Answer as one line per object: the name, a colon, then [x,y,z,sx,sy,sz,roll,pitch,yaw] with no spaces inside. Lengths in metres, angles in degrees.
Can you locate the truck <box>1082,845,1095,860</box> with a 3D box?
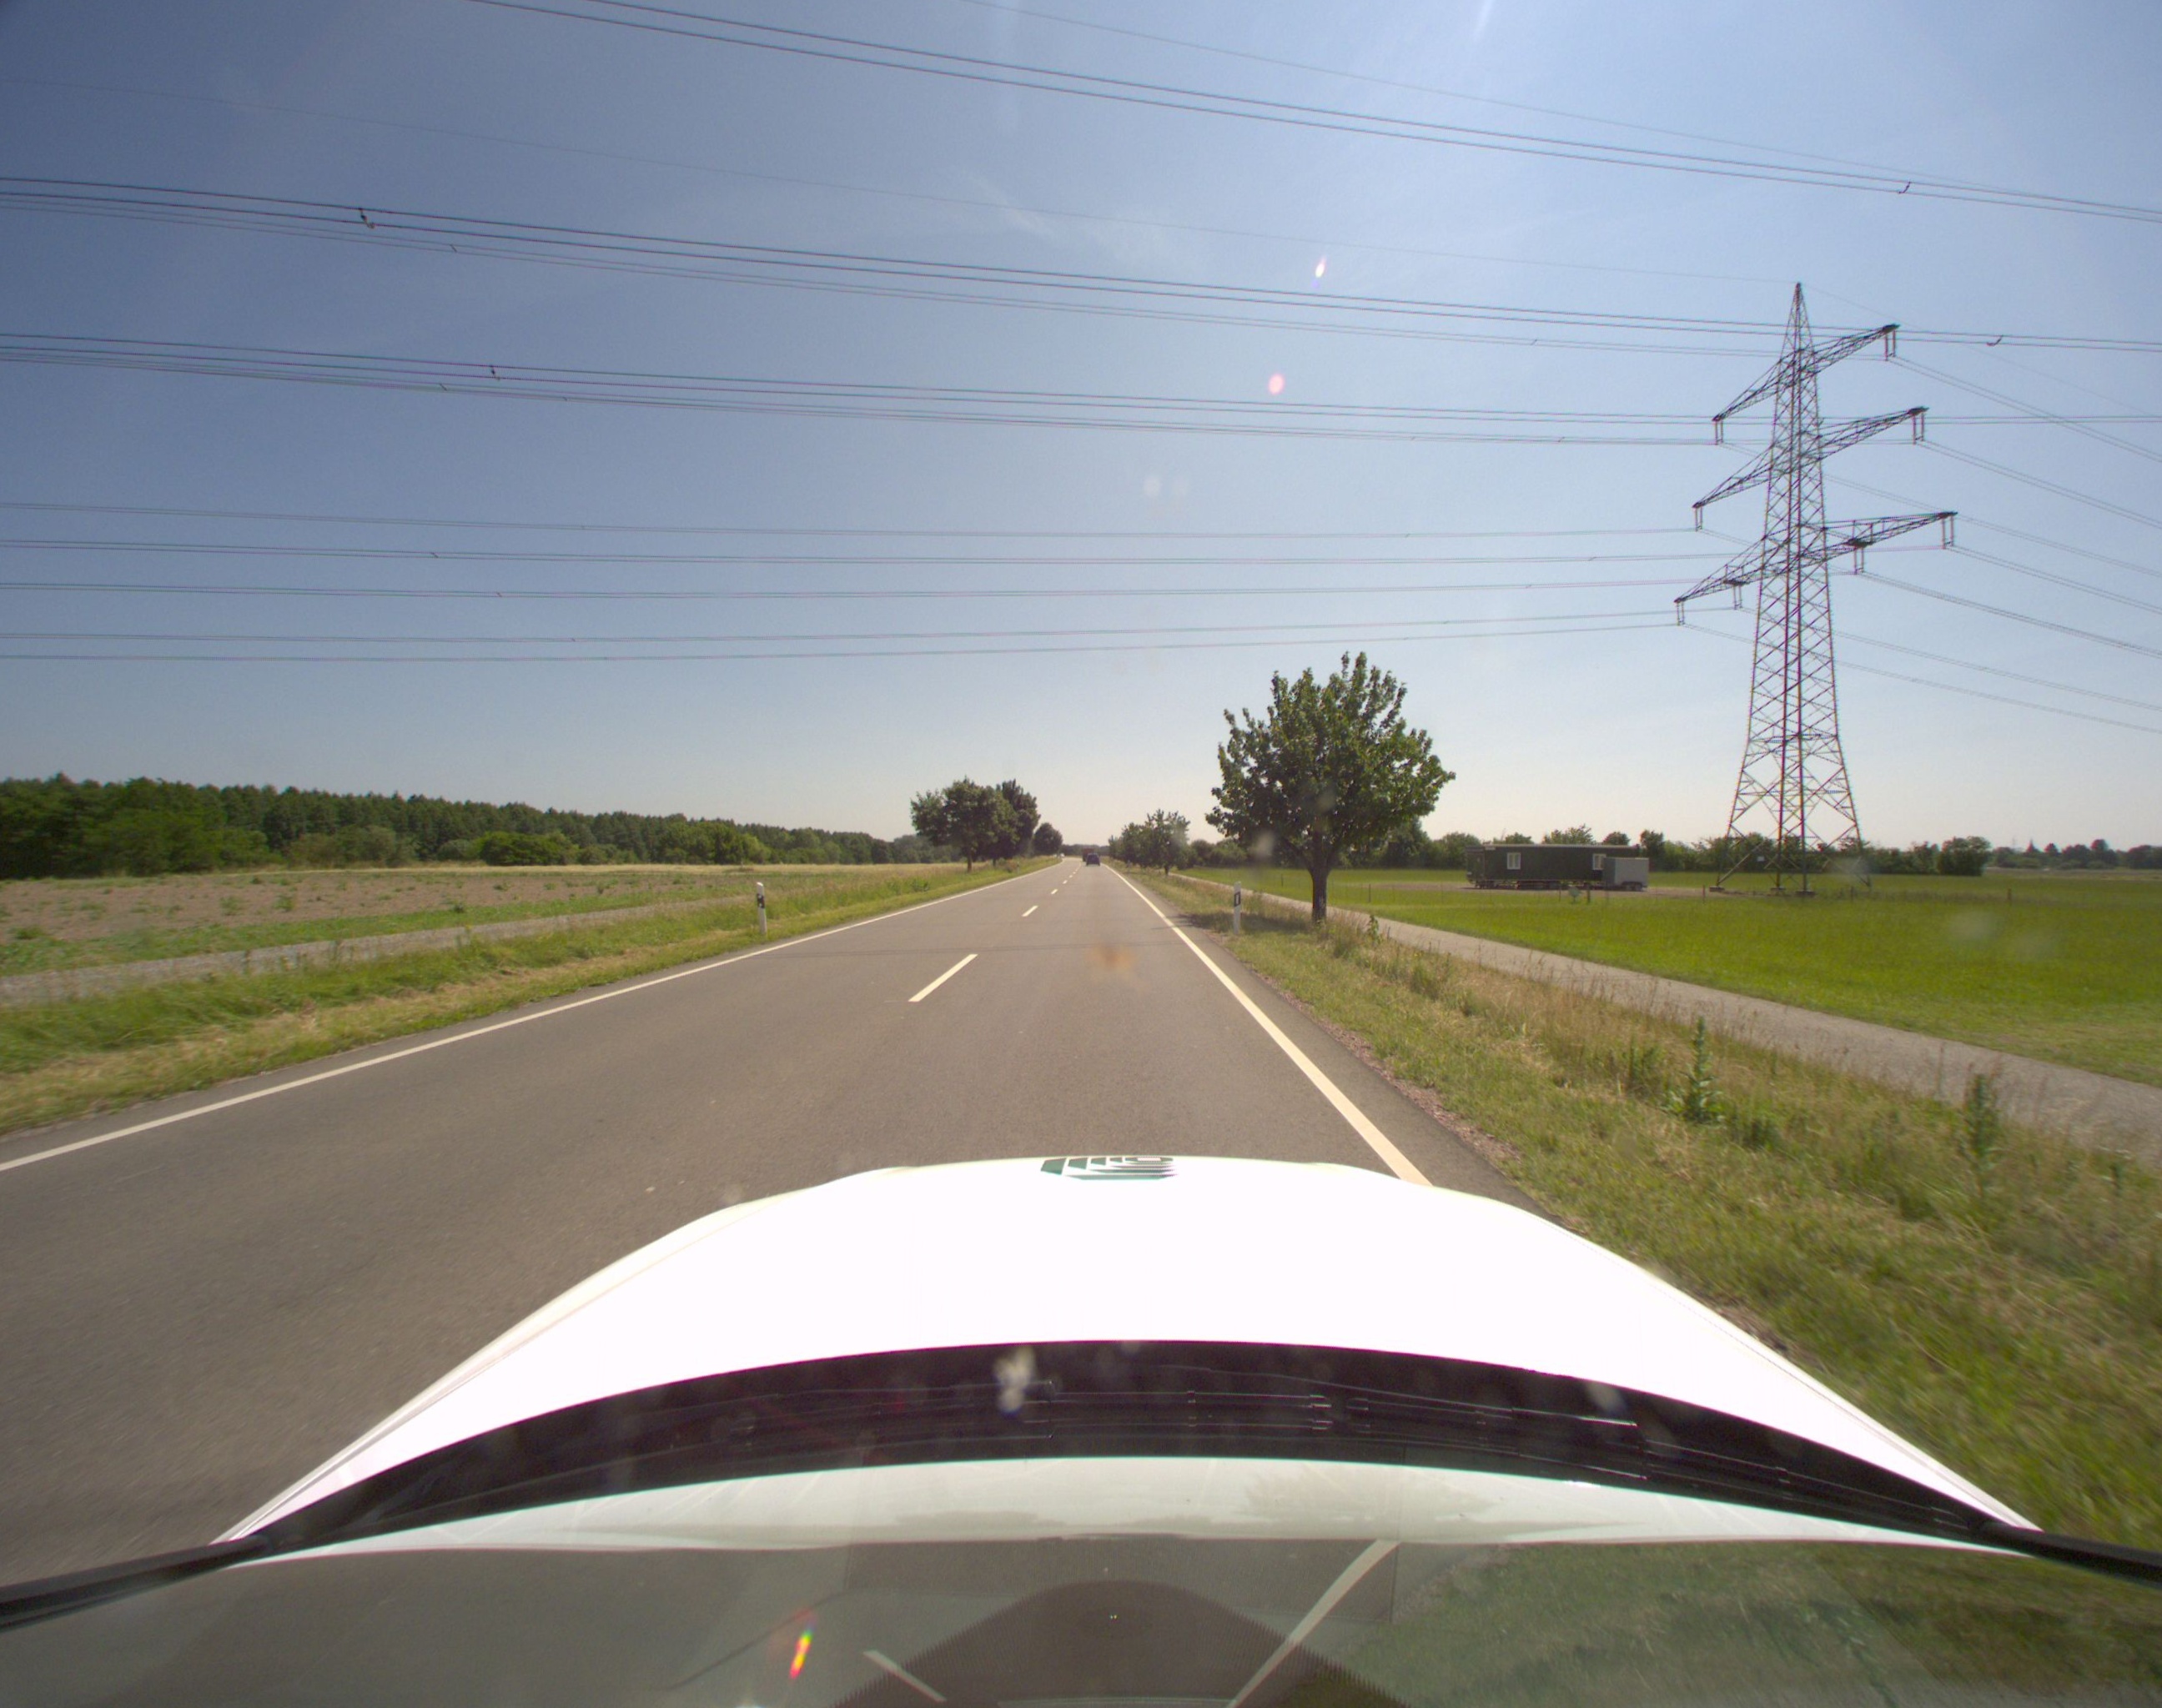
truck: [1.586,-0.266,180.607,2.365,3.140,8.737,0,0,-3]

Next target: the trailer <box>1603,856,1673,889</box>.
trailer: [42.062,1.378,61.532,3.977,2.443,1.998,1,0,-3]

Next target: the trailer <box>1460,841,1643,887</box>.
trailer: [37.085,0.768,64.555,12.372,3.473,3.804,1,0,-1]

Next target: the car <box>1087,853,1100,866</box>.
car: [1.652,0.760,110.968,1.709,1.694,3.989,-1,0,1]
